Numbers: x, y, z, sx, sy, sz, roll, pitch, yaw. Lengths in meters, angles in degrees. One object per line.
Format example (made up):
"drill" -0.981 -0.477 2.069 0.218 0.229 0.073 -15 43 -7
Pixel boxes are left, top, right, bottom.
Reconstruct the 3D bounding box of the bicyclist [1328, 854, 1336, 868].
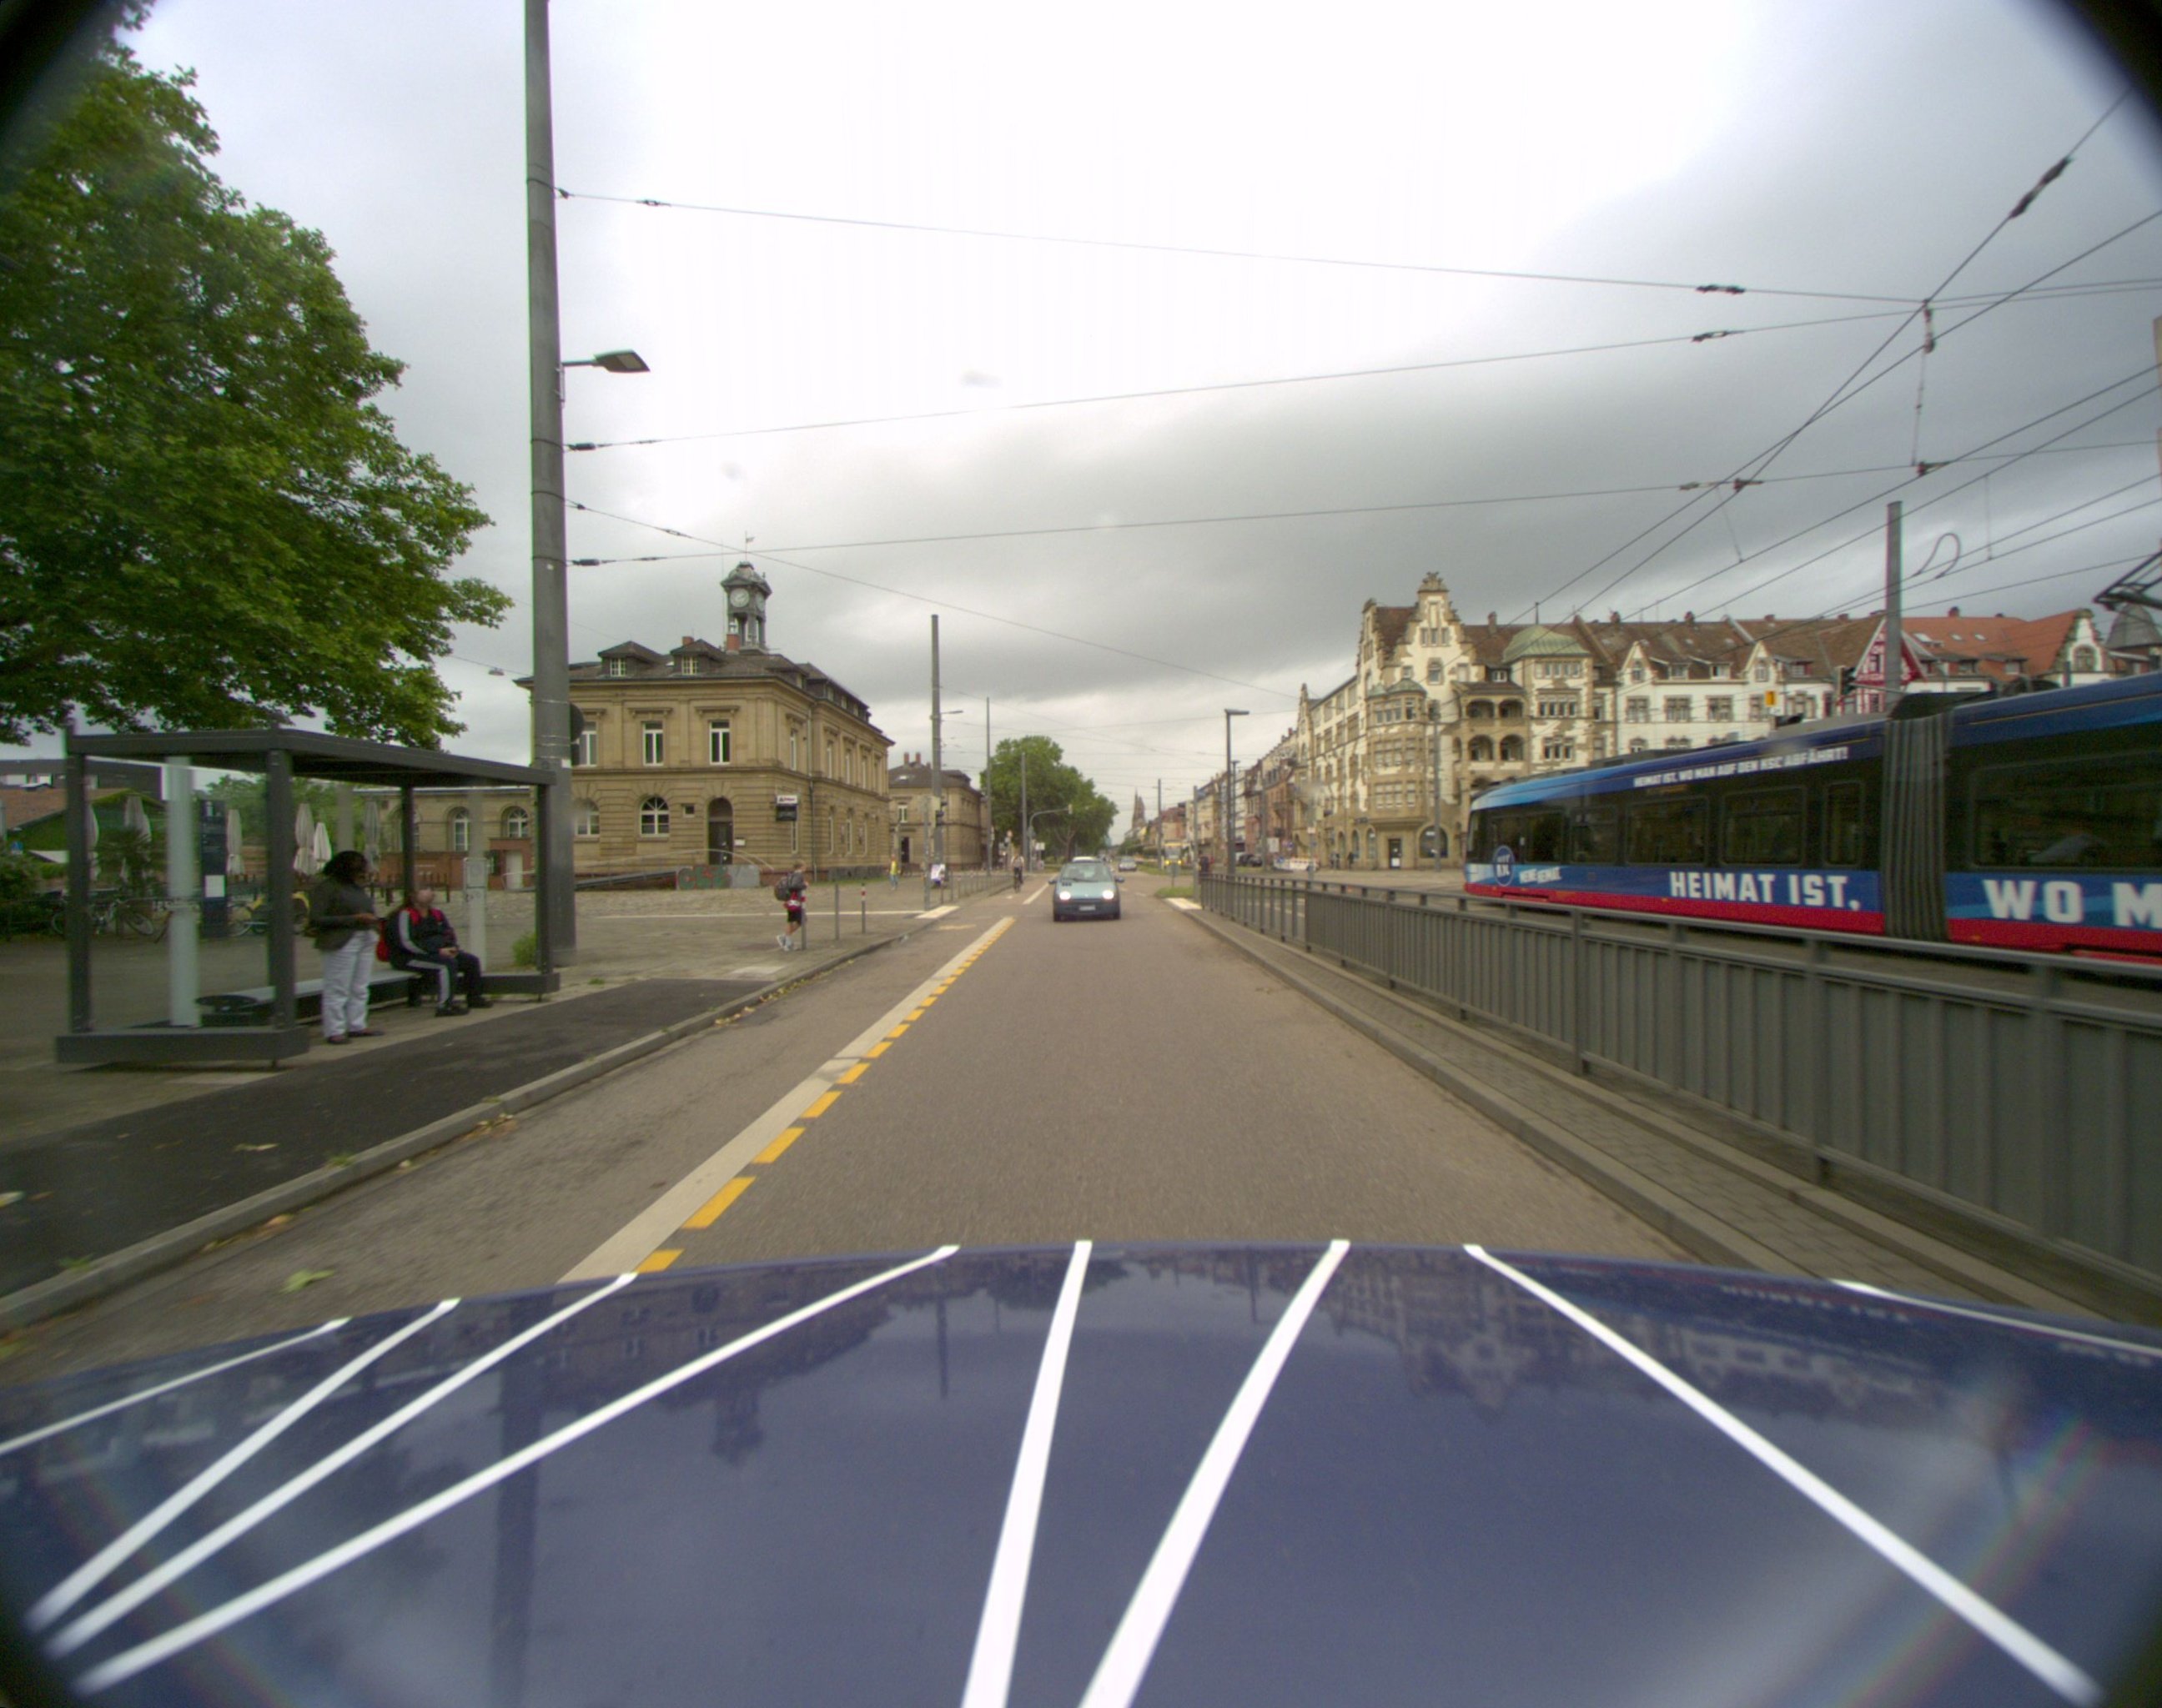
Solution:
"bicyclist" 24.890 0.713 75.331 0.707 1.435 0.974 0 0 18

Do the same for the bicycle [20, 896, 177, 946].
"bicycle" -20.684 1.383 16.082 0.611 0.867 2.081 -1 0 0

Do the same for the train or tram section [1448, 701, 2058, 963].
"train or tram section" 12.174 -0.358 16.446 2.862 3.619 11.764 0 1 1

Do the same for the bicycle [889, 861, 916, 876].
"bicycle" -13.190 1.071 56.098 1.859 1.072 0.546 2 0 -17

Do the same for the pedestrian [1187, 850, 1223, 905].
"pedestrian" 3.765 0.704 23.064 0.862 1.633 0.651 -1 1 -40

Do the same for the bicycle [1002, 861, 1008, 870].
"bicycle" -9.744 1.451 97.105 0.677 1.158 2.112 0 1 -7

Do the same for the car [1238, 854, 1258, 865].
"car" 23.877 0.795 108.682 1.999 1.587 3.999 0 1 -2

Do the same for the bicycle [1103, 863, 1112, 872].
"bicycle" 2.635 1.360 76.028 0.812 0.939 2.147 0 -2 0

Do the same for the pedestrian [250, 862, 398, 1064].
"pedestrian" -6.208 0.855 6.264 0.477 1.554 0.702 0 1 1

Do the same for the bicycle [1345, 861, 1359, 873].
"bicycle" 23.831 1.187 66.753 0.750 1.030 1.917 -1 -1 8

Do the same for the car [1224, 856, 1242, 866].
"car" 24.446 1.092 122.175 1.999 1.587 3.999 0 1 -2

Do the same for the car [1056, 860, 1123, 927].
"car" 0.268 0.929 19.272 1.534 1.464 3.353 1 1 3

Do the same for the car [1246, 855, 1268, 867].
"car" 23.744 0.934 102.575 1.999 1.434 3.999 0 1 -2

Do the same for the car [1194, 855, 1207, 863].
"car" 24.959 0.976 158.749 1.999 1.587 3.999 0 1 -2

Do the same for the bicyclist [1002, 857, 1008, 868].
"bicyclist" -9.720 1.055 97.056 0.694 1.392 0.815 0 1 -8

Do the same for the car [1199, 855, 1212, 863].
"car" 25.074 0.965 153.100 1.999 1.587 3.999 0 1 -2

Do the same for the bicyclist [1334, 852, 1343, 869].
"bicyclist" 24.522 0.613 72.452 0.723 1.596 0.860 -1 -1 13

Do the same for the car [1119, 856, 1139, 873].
"car" 5.049 1.060 79.887 1.869 1.630 3.775 0 1 0

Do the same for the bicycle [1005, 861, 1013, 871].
"bicycle" -7.884 1.282 83.601 0.718 1.062 1.699 0 1 0

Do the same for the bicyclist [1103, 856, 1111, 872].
"bicyclist" 2.623 1.022 76.163 0.812 1.586 0.890 0 -1 0

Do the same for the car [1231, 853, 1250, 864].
"car" 24.116 0.727 115.212 1.999 1.587 3.999 0 1 -2

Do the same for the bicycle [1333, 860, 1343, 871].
"bicycle" 24.495 1.142 72.323 0.723 1.030 1.912 -1 -1 13

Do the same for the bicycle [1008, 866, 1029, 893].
"bicycle" -2.922 1.196 35.635 0.814 1.163 2.277 0 1 0

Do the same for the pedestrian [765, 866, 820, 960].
"pedestrian" -4.819 0.964 12.717 0.552 1.520 0.639 0 1 19

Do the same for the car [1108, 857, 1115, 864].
"car" 9.279 2.044 234.050 1.999 2.002 3.999 0 1 0

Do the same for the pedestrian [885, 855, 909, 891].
"pedestrian" -8.560 0.867 35.302 0.720 1.668 1.000 0 1 11

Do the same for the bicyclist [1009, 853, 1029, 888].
"bicyclist" -2.910 0.748 35.622 0.812 1.591 1.189 0 1 0

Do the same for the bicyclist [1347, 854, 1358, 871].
"bicyclist" 23.823 0.731 66.753 0.750 1.511 0.766 -1 -1 8

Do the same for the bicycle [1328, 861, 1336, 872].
"bicycle" 24.895 1.218 75.336 0.707 1.030 2.026 0 -1 18

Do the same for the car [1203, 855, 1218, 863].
"car" 25.020 0.950 146.980 1.999 1.587 3.999 0 1 -2

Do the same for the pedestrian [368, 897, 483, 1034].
"pedestrian" -6.358 1.056 7.404 0.477 1.227 0.702 0 1 1

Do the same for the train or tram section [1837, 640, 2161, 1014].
"train or tram section" 11.859 -0.237 4.664 2.862 3.619 11.698 0 1 1

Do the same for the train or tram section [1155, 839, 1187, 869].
"train or tram section" 10.901 -0.034 93.593 2.651 3.417 13.618 0 1 1

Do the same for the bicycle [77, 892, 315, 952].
"bicycle" -17.939 1.325 15.629 0.902 1.061 3.407 -1 -2 0

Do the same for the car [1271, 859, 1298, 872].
"car" 23.994 1.349 89.848 1.999 1.434 3.999 0 1 -2

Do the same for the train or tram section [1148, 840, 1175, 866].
"train or tram section" 11.240 -0.150 107.177 2.651 3.417 13.618 0 1 1

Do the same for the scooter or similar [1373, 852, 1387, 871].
"scooter or similar" 26.762 0.673 67.986 0.565 1.705 1.830 0 1 -1
